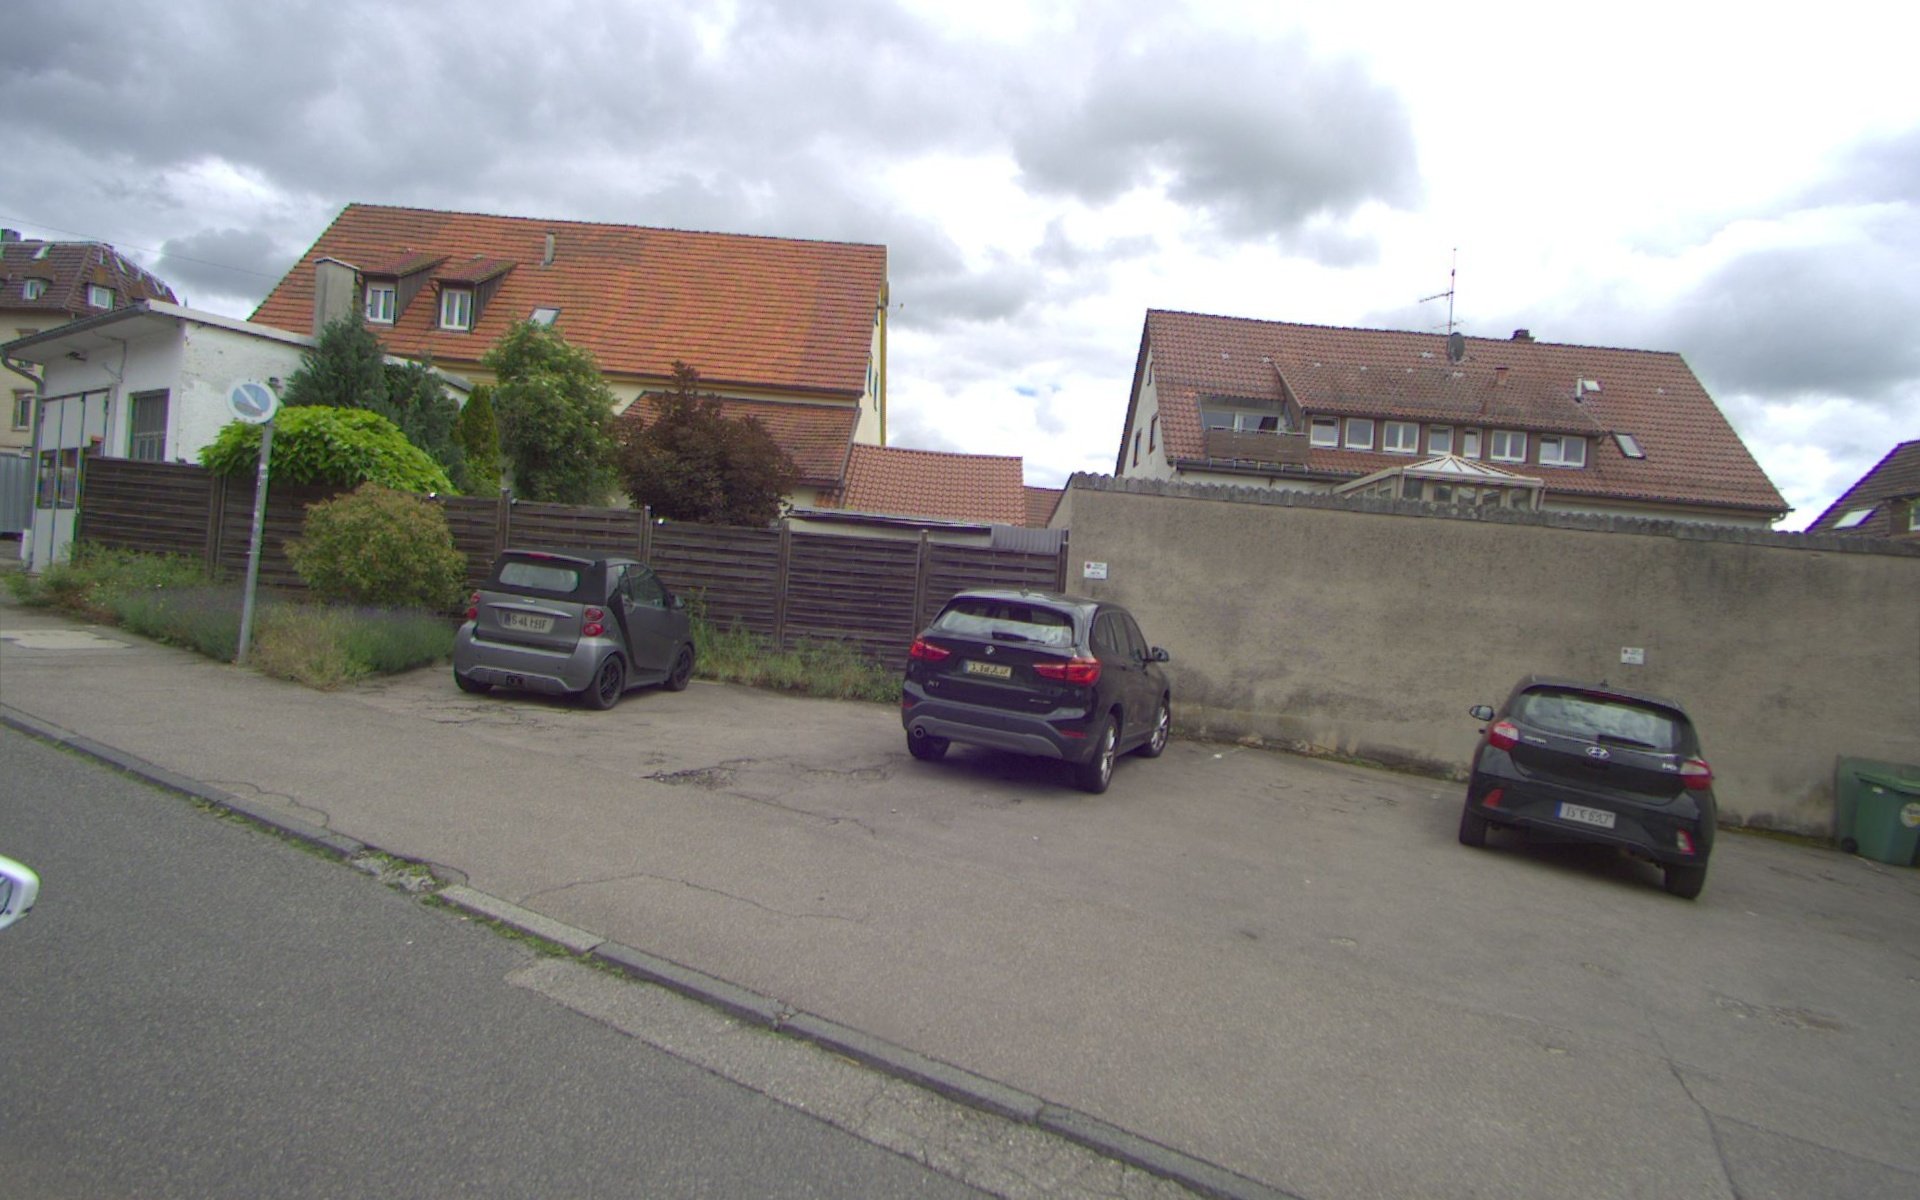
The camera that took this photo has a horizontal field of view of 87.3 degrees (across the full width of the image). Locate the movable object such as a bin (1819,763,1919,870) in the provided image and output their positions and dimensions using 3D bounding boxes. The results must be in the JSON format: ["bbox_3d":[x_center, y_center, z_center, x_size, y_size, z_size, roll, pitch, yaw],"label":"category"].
[{"bbox_3d":[11.819,2.770,12.881,0.632,1.117,0.937,11,0,0],"label":"movable object such as a bin"}]

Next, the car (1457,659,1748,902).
[{"bbox_3d":[5.521,1.467,8.980,1.696,1.504,3.323,7,-2,29],"label":"car"}]

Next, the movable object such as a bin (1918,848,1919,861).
[{"bbox_3d":[13.084,2.956,12.874,0.570,1.117,0.937,11,0,0],"label":"movable object such as a bin"}]

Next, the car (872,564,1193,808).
[{"bbox_3d":[0.956,0.710,9.833,1.869,1.675,4.123,7,1,21],"label":"car"}]

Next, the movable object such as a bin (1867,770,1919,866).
[{"bbox_3d":[12.469,2.865,12.877,0.666,1.117,0.937,11,0,0],"label":"movable object such as a bin"}]

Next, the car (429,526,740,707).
[{"bbox_3d":[-3.966,0.167,11.224,1.671,1.538,3.324,7,1,10],"label":"car"}]
